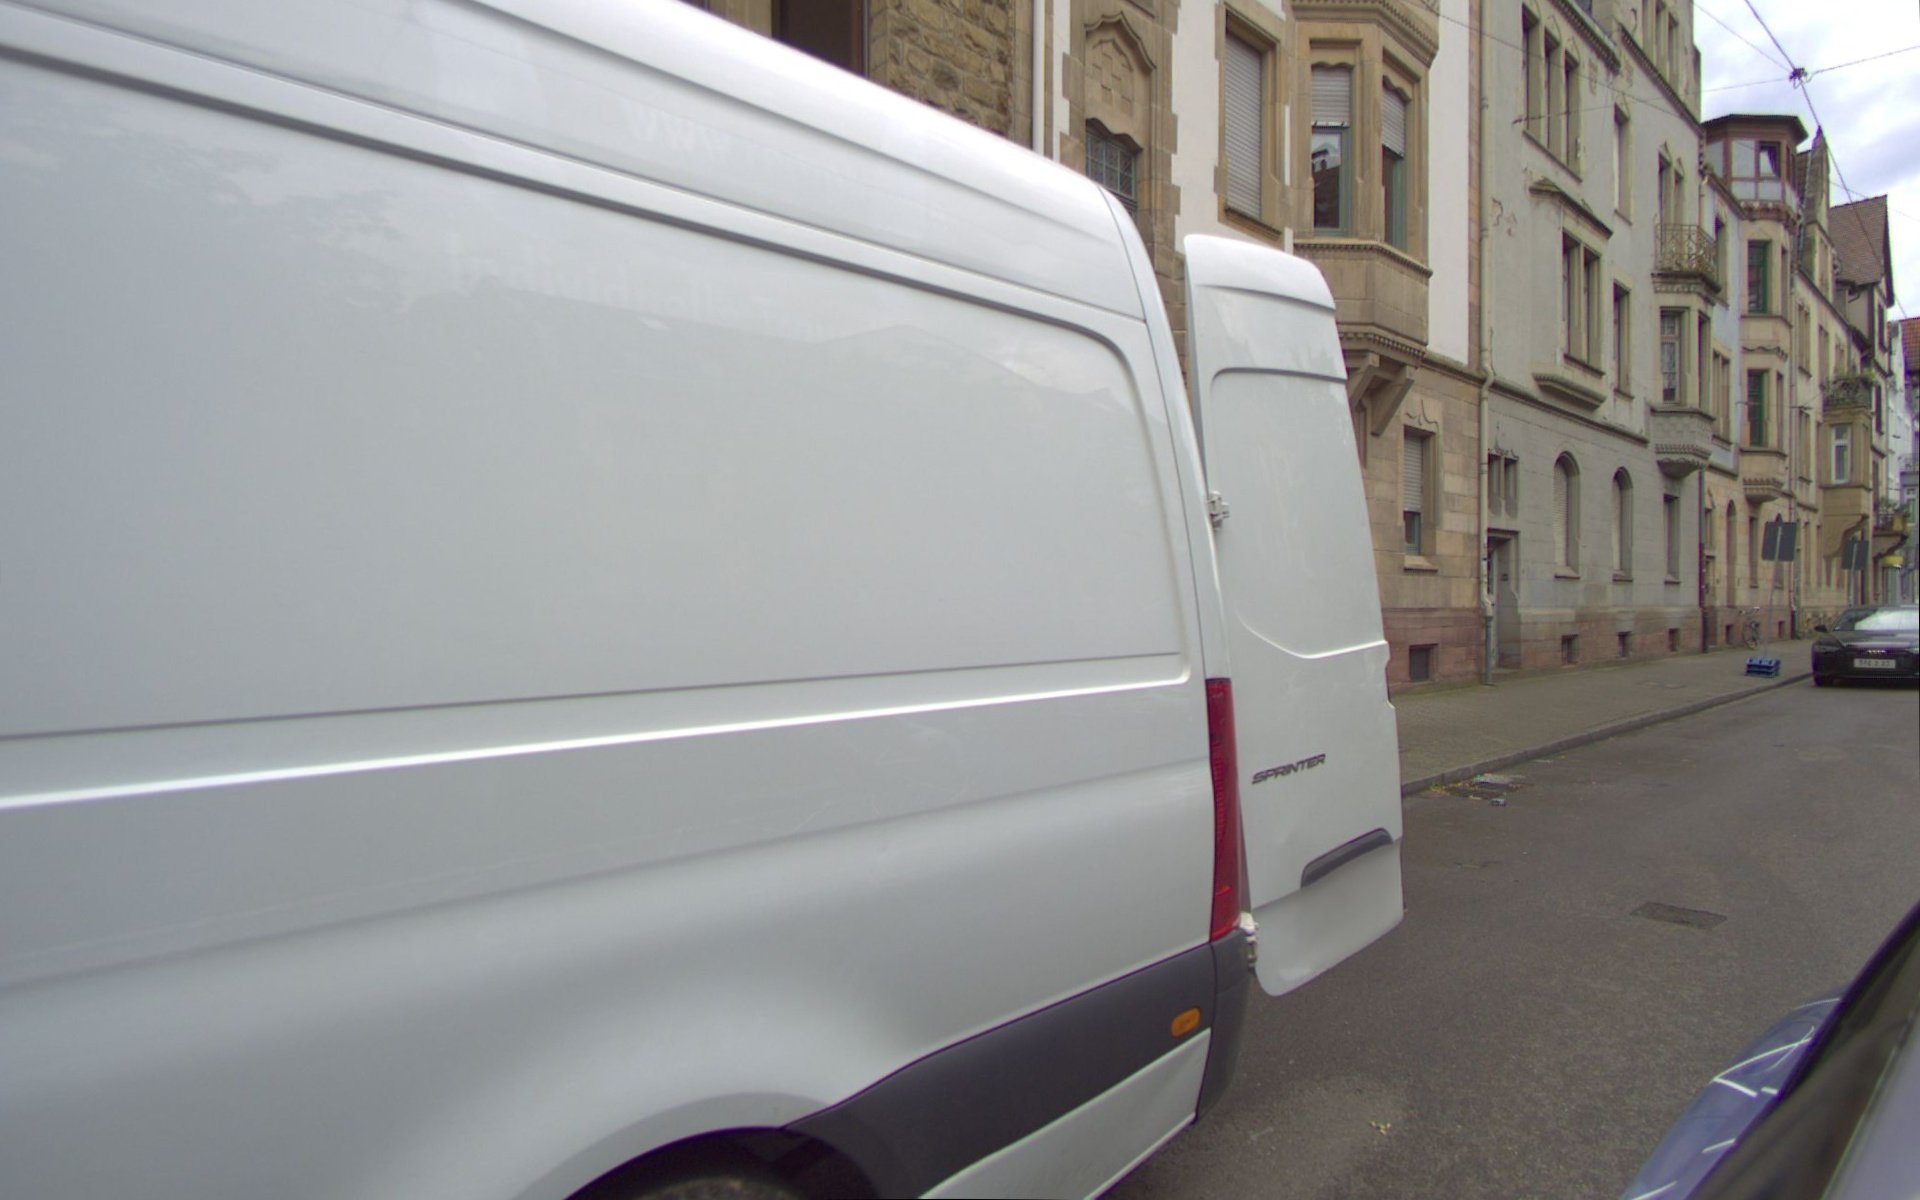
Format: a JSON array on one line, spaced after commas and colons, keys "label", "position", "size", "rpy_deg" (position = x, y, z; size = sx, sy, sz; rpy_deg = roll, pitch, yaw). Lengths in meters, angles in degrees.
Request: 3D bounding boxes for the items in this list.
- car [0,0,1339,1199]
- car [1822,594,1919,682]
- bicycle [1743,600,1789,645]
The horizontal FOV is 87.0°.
[{"label": "car", "position": [-2.391, 0.221, 0.934], "size": [6.893, 2.582, 2.016], "rpy_deg": [0, -2, -41]}, {"label": "car", "position": [17.517, 0.624, 18.670], "size": [5.106, 1.456, 1.803], "rpy_deg": [0, 0, -42]}, {"label": "bicycle", "position": [21.468, 0.591, 26.948], "size": [1.883, 1.141, 0.611], "rpy_deg": [0, -3, -42]}]
